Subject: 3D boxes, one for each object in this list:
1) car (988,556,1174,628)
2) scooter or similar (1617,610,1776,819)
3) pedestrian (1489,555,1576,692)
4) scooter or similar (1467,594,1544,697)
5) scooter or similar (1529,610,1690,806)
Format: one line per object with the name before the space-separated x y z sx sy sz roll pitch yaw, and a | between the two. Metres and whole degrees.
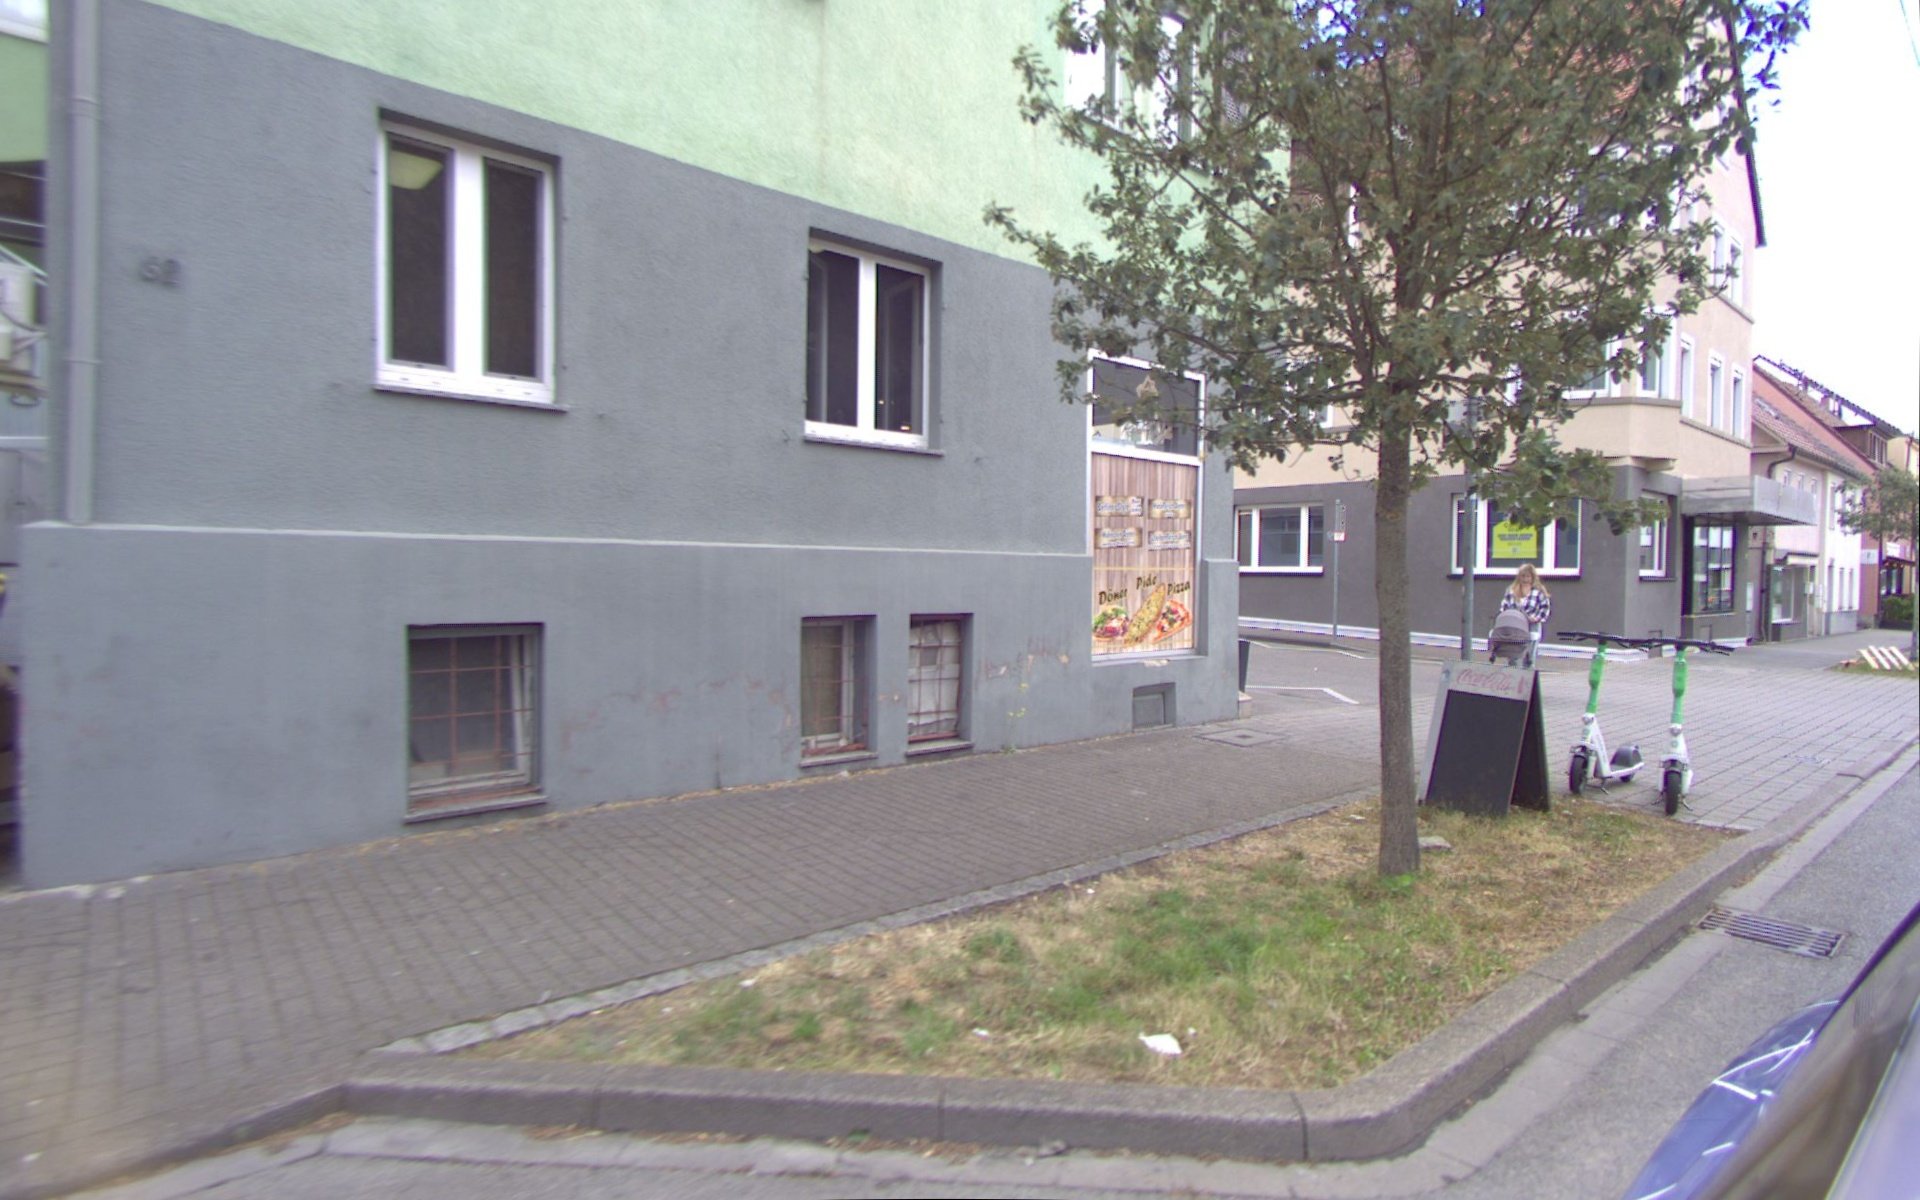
car | 2.891 -0.241 24.994 1.875 1.490 4.433 1 3 -41
scooter or similar | 5.210 0.721 7.113 1.909 1.251 0.503 -1 1 -41
pedestrian | 7.616 0.294 13.466 0.884 1.741 0.752 -1 0 -40
scooter or similar | 6.937 0.550 12.870 0.876 1.248 0.590 -1 1 -41
scooter or similar | 4.862 0.725 7.520 1.909 1.251 0.503 -1 1 -41
